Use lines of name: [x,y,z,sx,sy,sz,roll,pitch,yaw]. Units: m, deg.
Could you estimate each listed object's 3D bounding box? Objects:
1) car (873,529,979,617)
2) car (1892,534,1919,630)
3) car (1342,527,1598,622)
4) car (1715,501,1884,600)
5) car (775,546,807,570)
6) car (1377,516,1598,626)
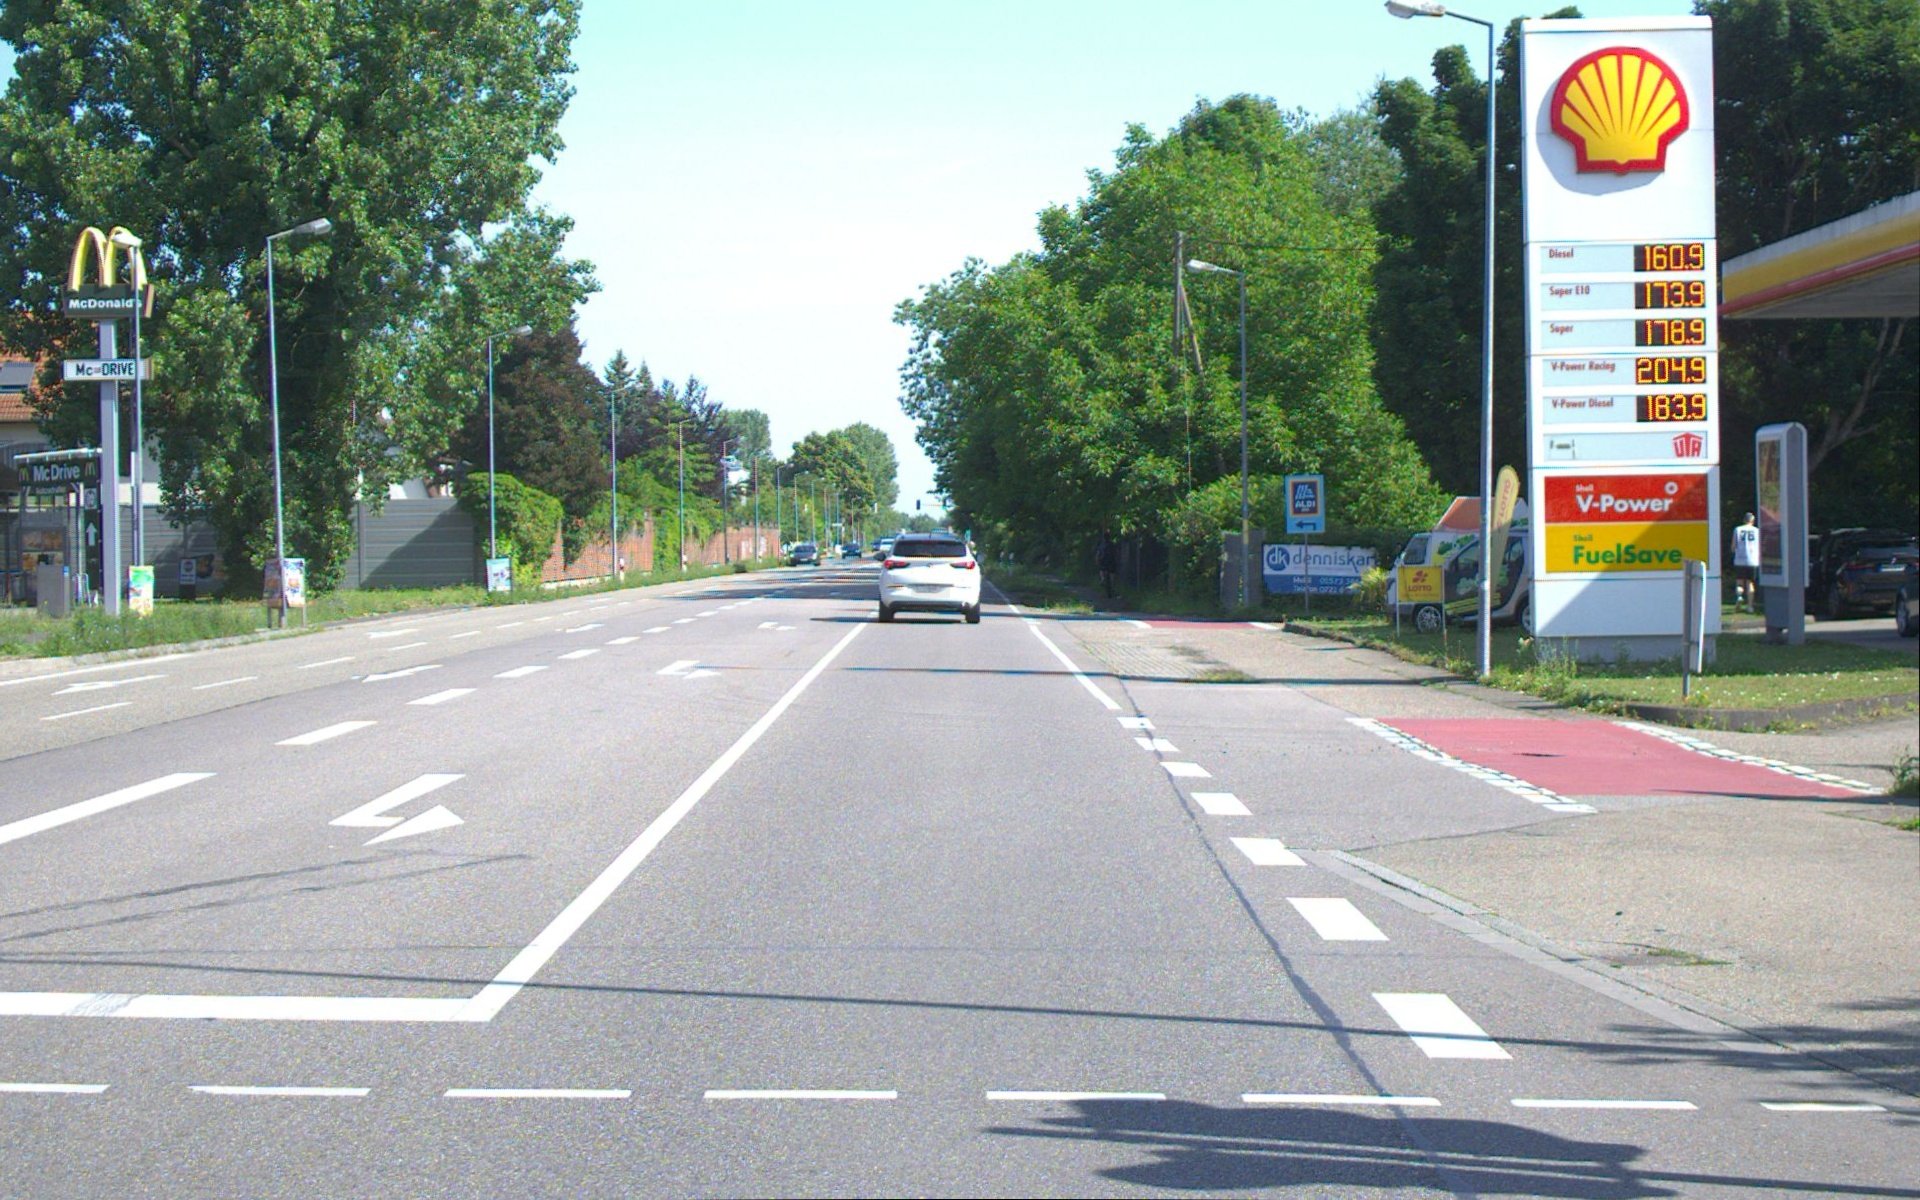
car: [-0.603,-0.502,63.128,1.847,1.536,4.225,1,1,0]
car: [14.445,-0.259,48.306,1.798,1.356,3.848,-1,1,3]
car: [8.621,-0.430,58.221,3.986,1.525,1.586,1,1,-7]
car: [15.650,-0.918,64.275,1.993,1.760,4.000,1,1,-3]
car: [-11.402,-2.839,232.717,1.847,1.491,4.912,-2,1,0]
car: [7.586,-0.409,49.484,2.729,1.525,1.574,0,0,44]
